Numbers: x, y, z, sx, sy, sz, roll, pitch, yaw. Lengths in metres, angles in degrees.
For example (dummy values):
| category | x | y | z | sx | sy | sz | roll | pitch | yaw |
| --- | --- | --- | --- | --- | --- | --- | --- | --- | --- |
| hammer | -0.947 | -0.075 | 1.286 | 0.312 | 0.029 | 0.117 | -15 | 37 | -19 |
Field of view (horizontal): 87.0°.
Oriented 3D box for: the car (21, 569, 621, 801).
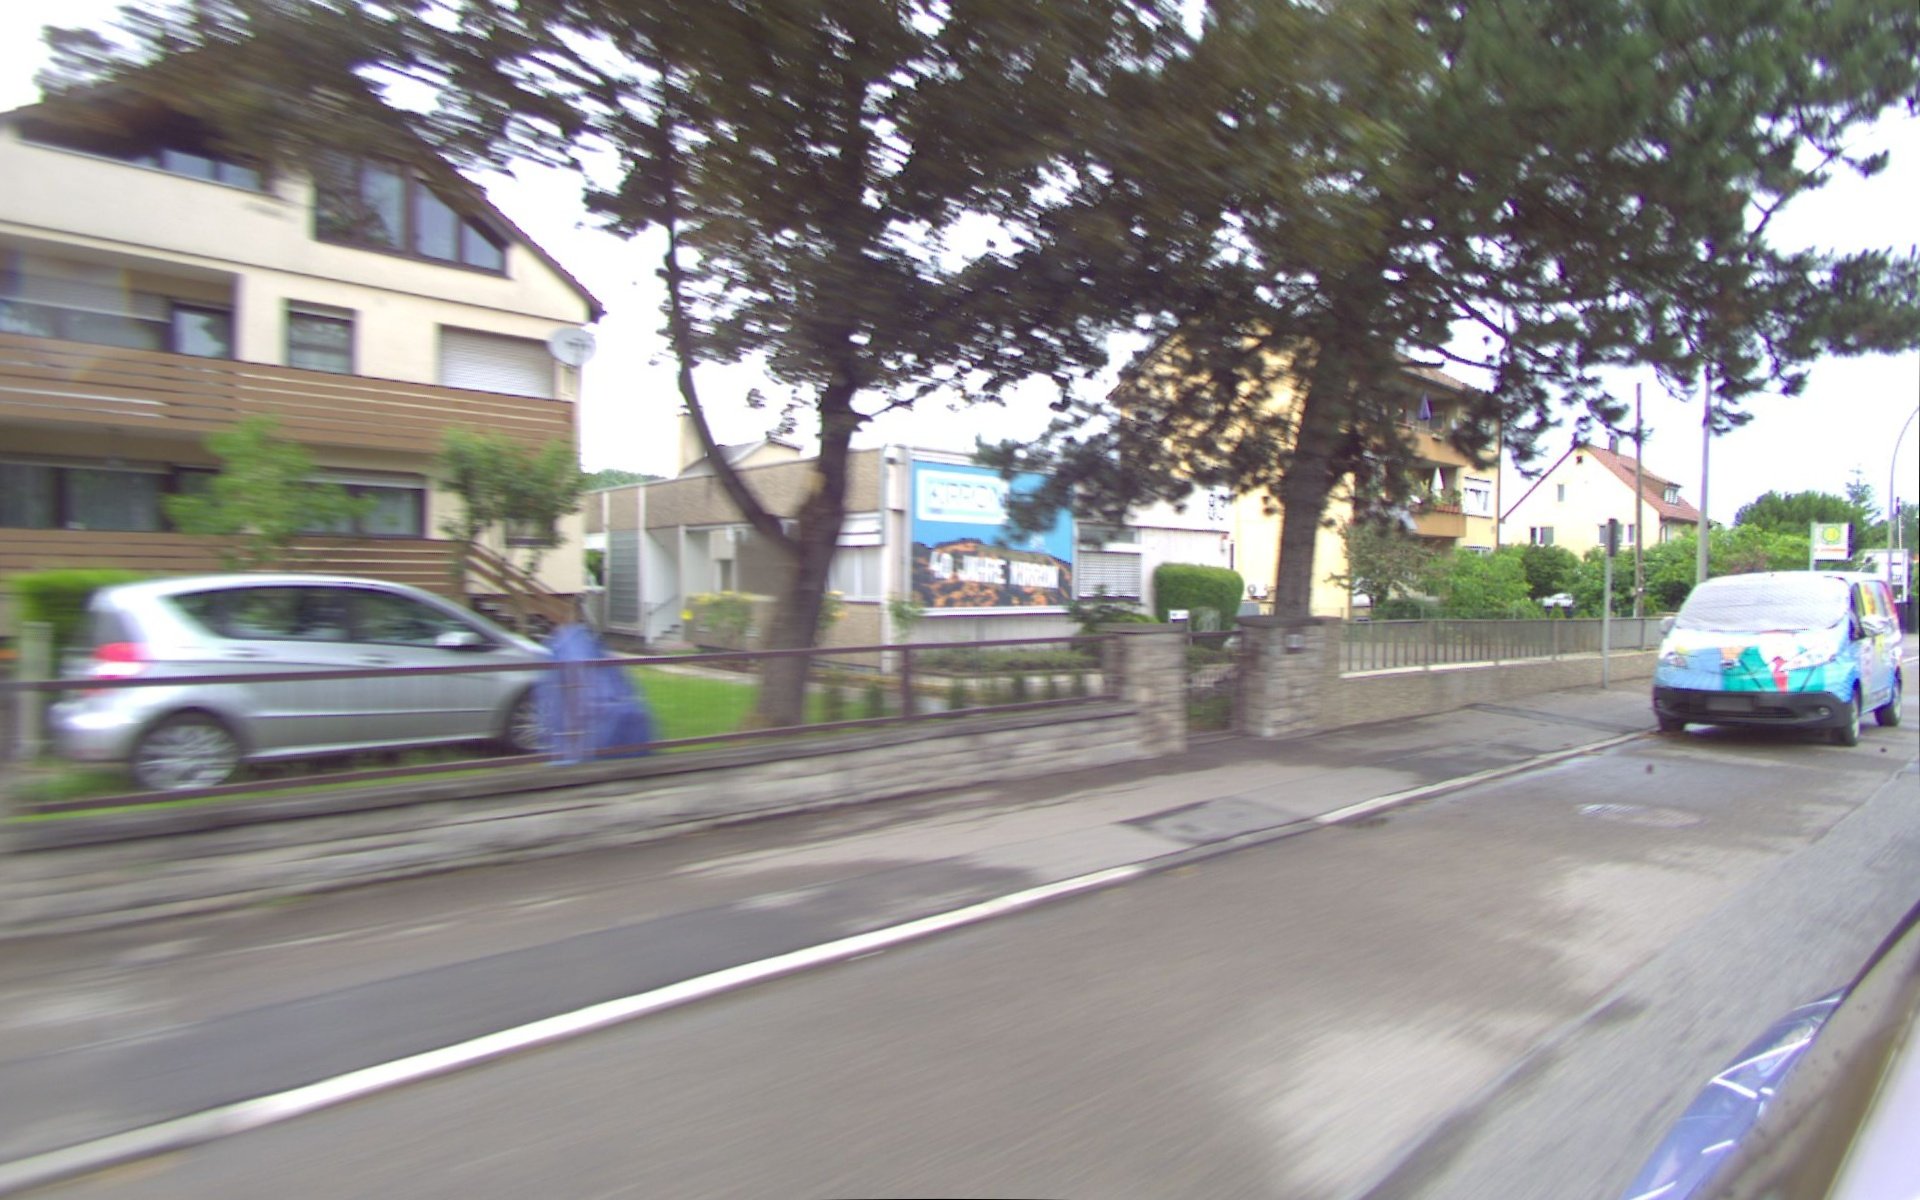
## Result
| category | x | y | z | sx | sy | sz | roll | pitch | yaw |
| --- | --- | --- | --- | --- | --- | --- | --- | --- | --- |
| car | -5.194 | 0.521 | 8.613 | 1.744 | 1.507 | 4.052 | 1 | 1 | 44 |

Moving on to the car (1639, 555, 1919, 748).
| category | x | y | z | sx | sy | sz | roll | pitch | yaw |
| --- | --- | --- | --- | --- | --- | --- | --- | --- | --- |
| car | 10.083 | 0.493 | 12.108 | 5.453 | 1.851 | 1.735 | 0 | -1 | -39 |
